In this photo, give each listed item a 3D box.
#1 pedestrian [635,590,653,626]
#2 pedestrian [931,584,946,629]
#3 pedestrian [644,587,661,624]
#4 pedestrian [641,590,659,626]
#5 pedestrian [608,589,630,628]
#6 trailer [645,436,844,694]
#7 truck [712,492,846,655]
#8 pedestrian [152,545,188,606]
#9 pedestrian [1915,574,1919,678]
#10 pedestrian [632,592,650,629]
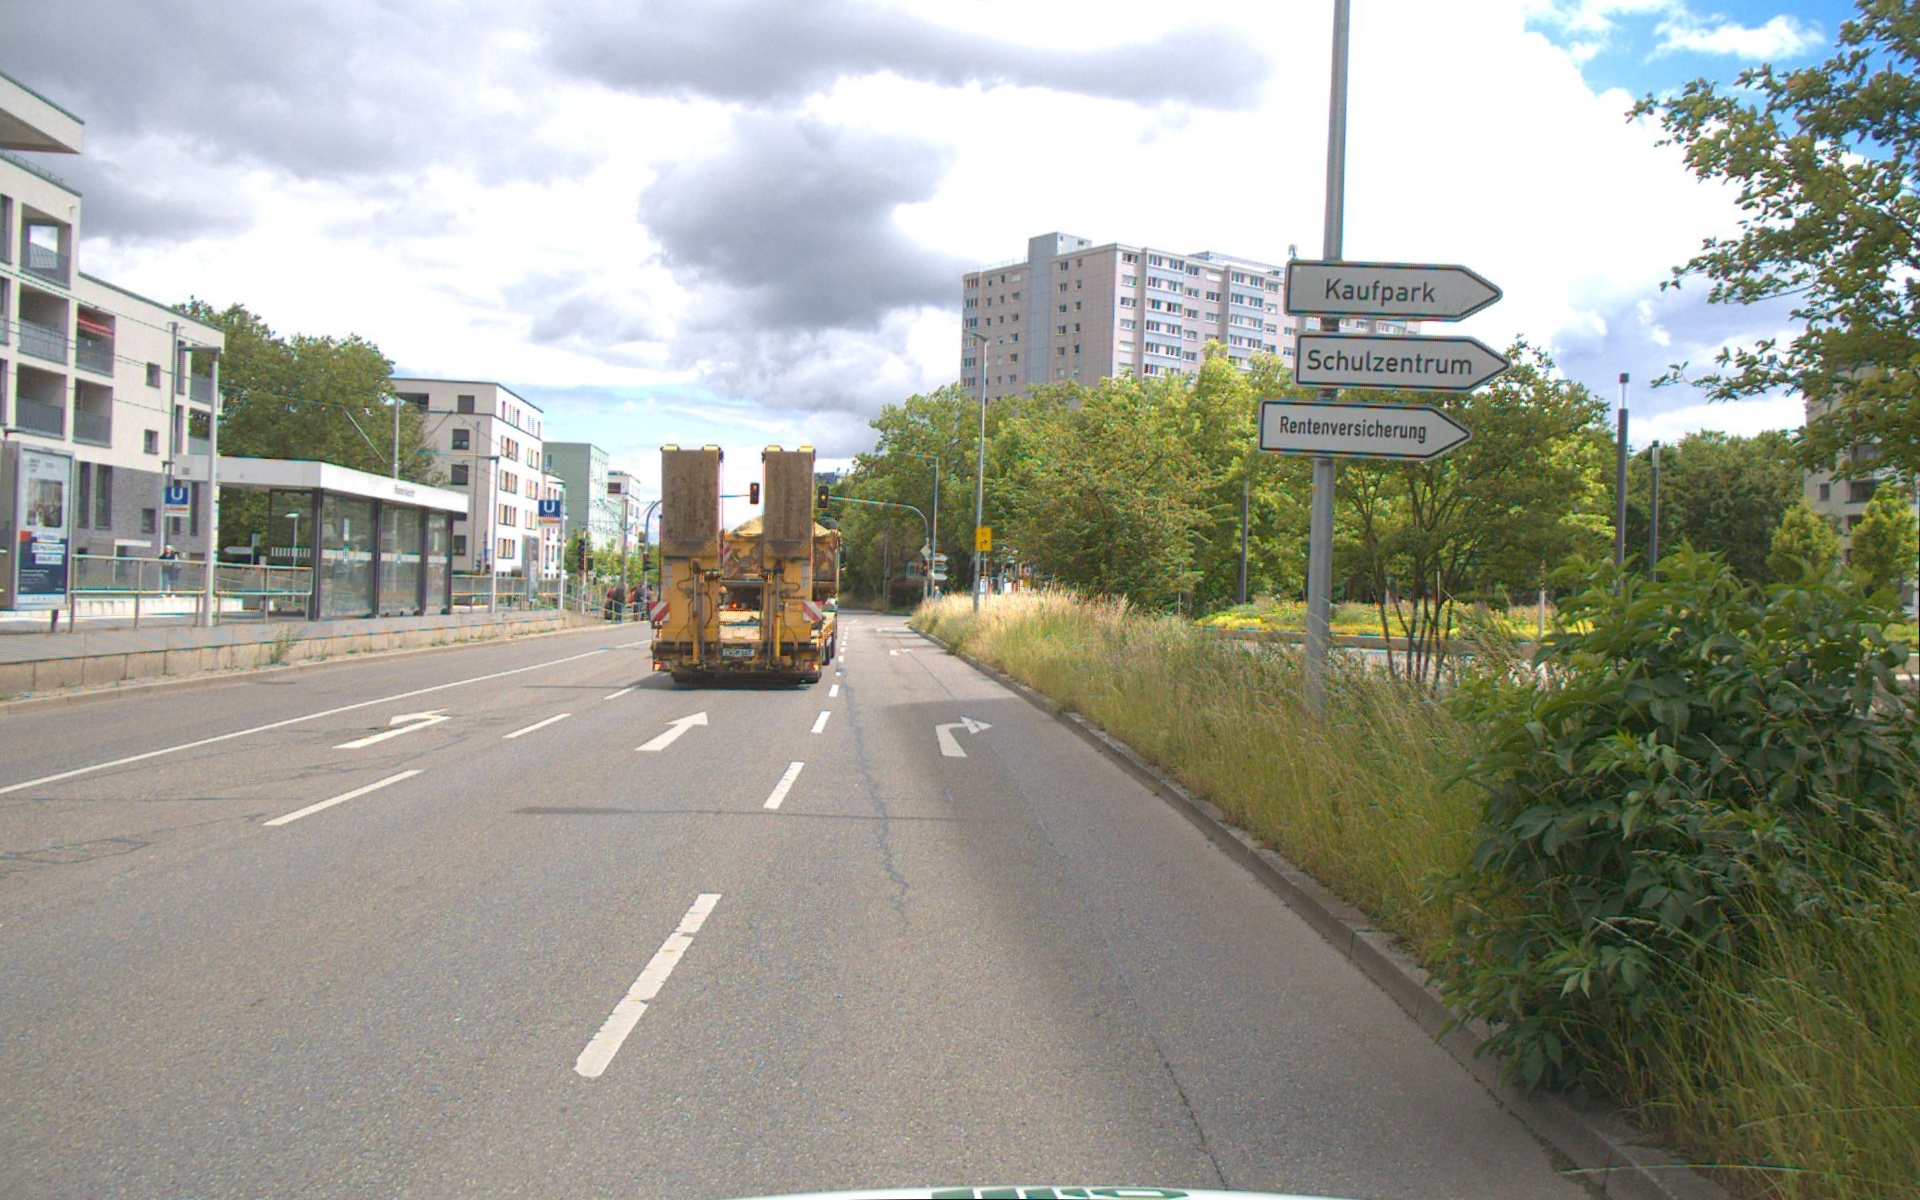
[{"bbox_3d":[-14.305,0.352,74.926,0.668,1.631,0.822,2,0,-5],"label":"pedestrian"},{"bbox_3d":[-1.004,0.309,77.101,0.551,2.049,0.490,2,-1,-13],"label":"pedestrian"},{"bbox_3d":[-14.486,0.260,77.913,0.668,1.699,0.822,1,0,-5],"label":"pedestrian"},{"bbox_3d":[-14.362,0.355,76.679,0.668,1.631,0.822,2,0,-5],"label":"pedestrian"},{"bbox_3d":[-15.030,0.379,72.889,0.804,1.698,0.683,2,0,-3],"label":"pedestrian"},{"bbox_3d":[-3.477,-0.505,29.294,2.675,3.621,11.245,2,0,-4],"label":"trailer"},{"bbox_3d":[-4.098,-0.561,39.060,2.699,3.371,8.345,2,0,-4],"label":"truck"},{"bbox_3d":[-23.887,-0.737,50.012,0.662,1.796,0.932,2,0,-6],"label":"pedestrian"},{"bbox_3d":[19.554,0.524,33.125,0.681,2.049,0.605,-1,-7,37],"label":"pedestrian"},{"bbox_3d":[-14.281,0.476,74.112,0.668,1.631,0.822,2,0,-5],"label":"pedestrian"}]
